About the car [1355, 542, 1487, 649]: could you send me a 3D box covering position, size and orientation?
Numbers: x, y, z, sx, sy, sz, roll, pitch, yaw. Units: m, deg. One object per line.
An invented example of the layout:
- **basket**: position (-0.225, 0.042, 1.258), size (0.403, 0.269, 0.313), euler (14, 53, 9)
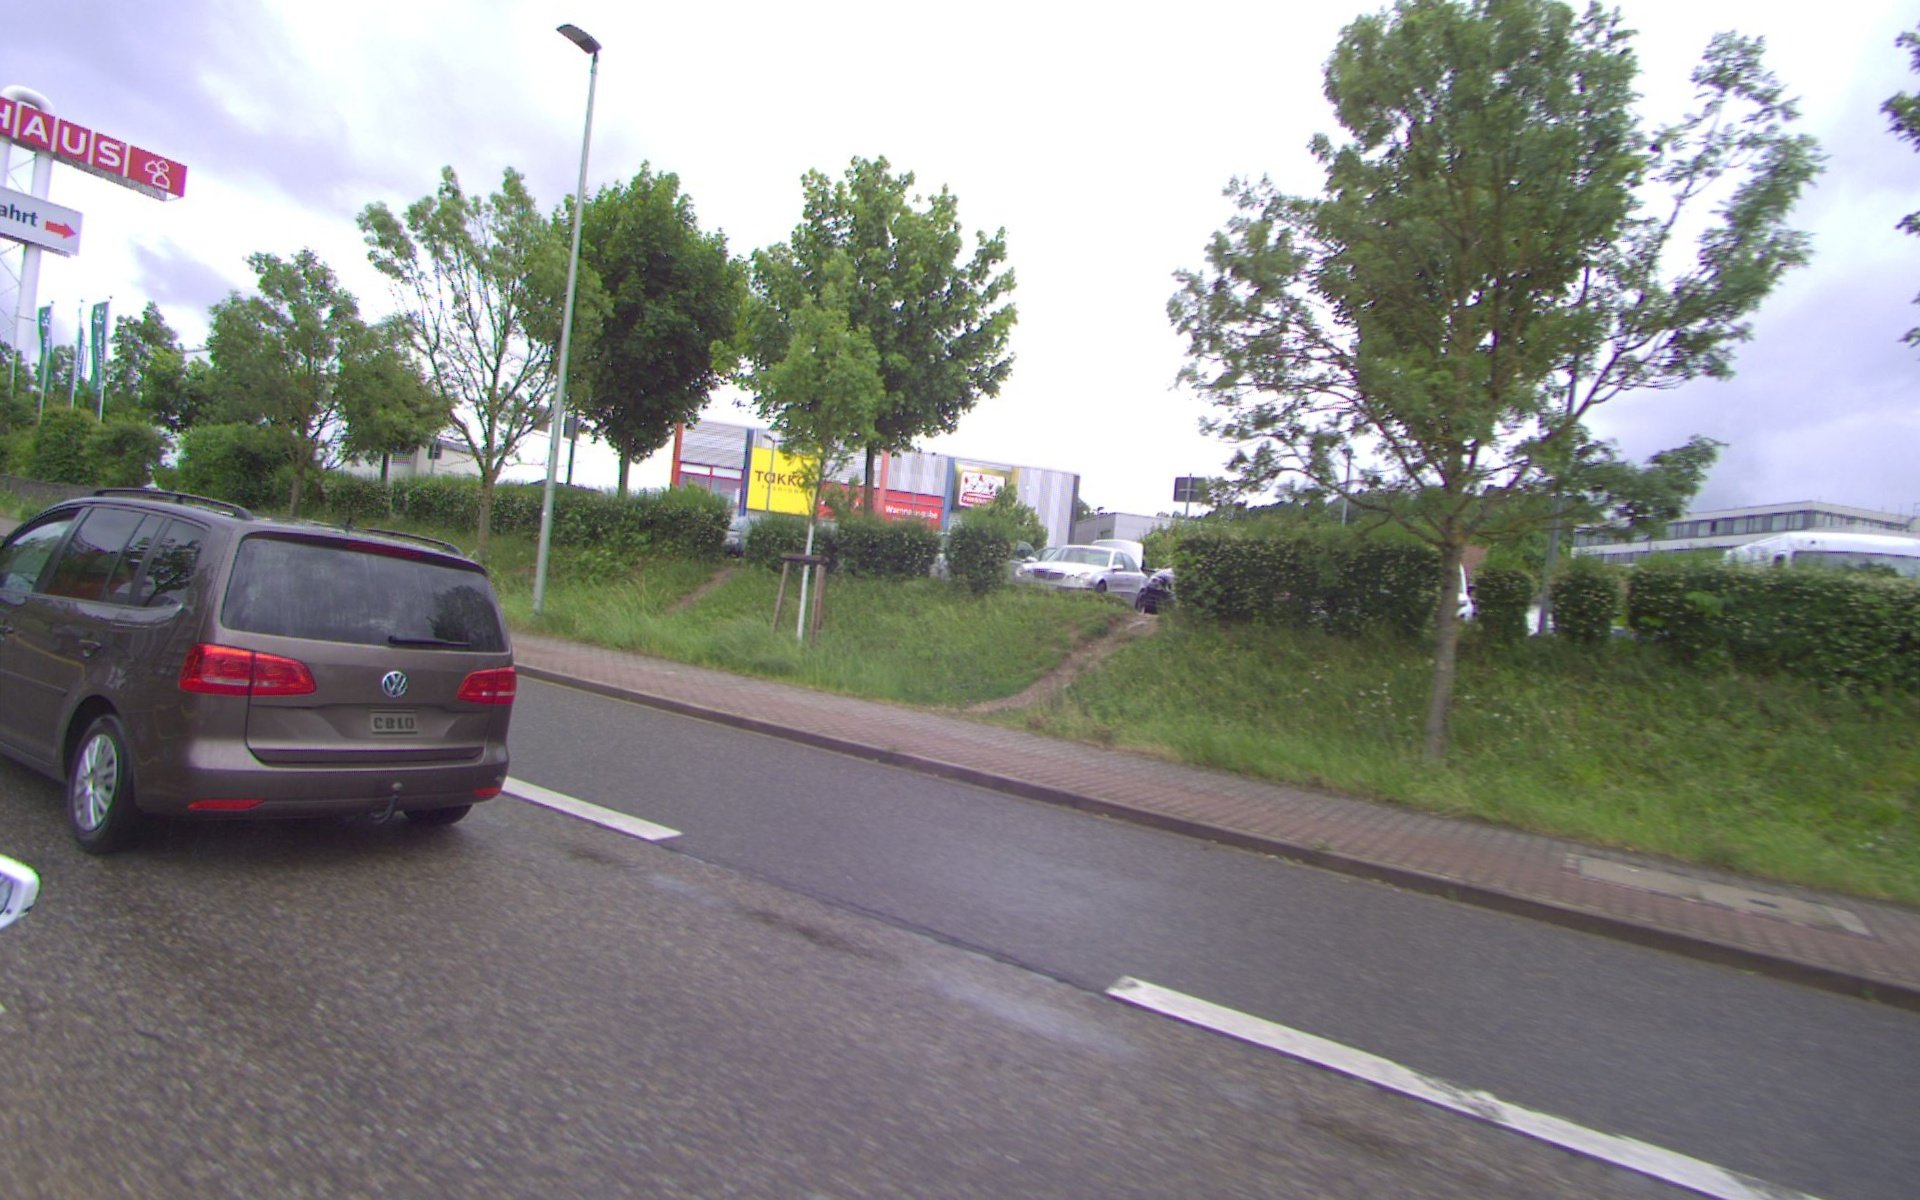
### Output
- **car**: position (8.809, -0.056, 19.175), size (1.894, 1.651, 4.352), euler (6, 2, 26)

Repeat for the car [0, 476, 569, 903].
- **car**: position (-4.393, 0.261, 5.750), size (4.147, 1.600, 1.688), euler (7, -1, 31)

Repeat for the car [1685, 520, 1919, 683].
- **car**: position (14.197, 0.062, 16.807), size (2.084, 2.170, 5.616), euler (6, 2, 24)

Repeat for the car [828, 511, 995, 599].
- **car**: position (-1.009, -0.984, 23.453), size (1.894, 1.651, 4.352), euler (6, 2, 26)

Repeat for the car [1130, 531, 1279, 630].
- **car**: position (5.068, -0.337, 20.403), size (1.894, 1.651, 4.352), euler (6, 2, 26)

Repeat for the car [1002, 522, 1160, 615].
- **car**: position (2.719, -0.612, 21.633), size (1.894, 1.651, 4.352), euler (6, 2, 26)

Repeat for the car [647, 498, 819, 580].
- **car**: position (-5.686, -1.499, 25.771), size (1.894, 1.651, 4.352), euler (6, 2, 26)
